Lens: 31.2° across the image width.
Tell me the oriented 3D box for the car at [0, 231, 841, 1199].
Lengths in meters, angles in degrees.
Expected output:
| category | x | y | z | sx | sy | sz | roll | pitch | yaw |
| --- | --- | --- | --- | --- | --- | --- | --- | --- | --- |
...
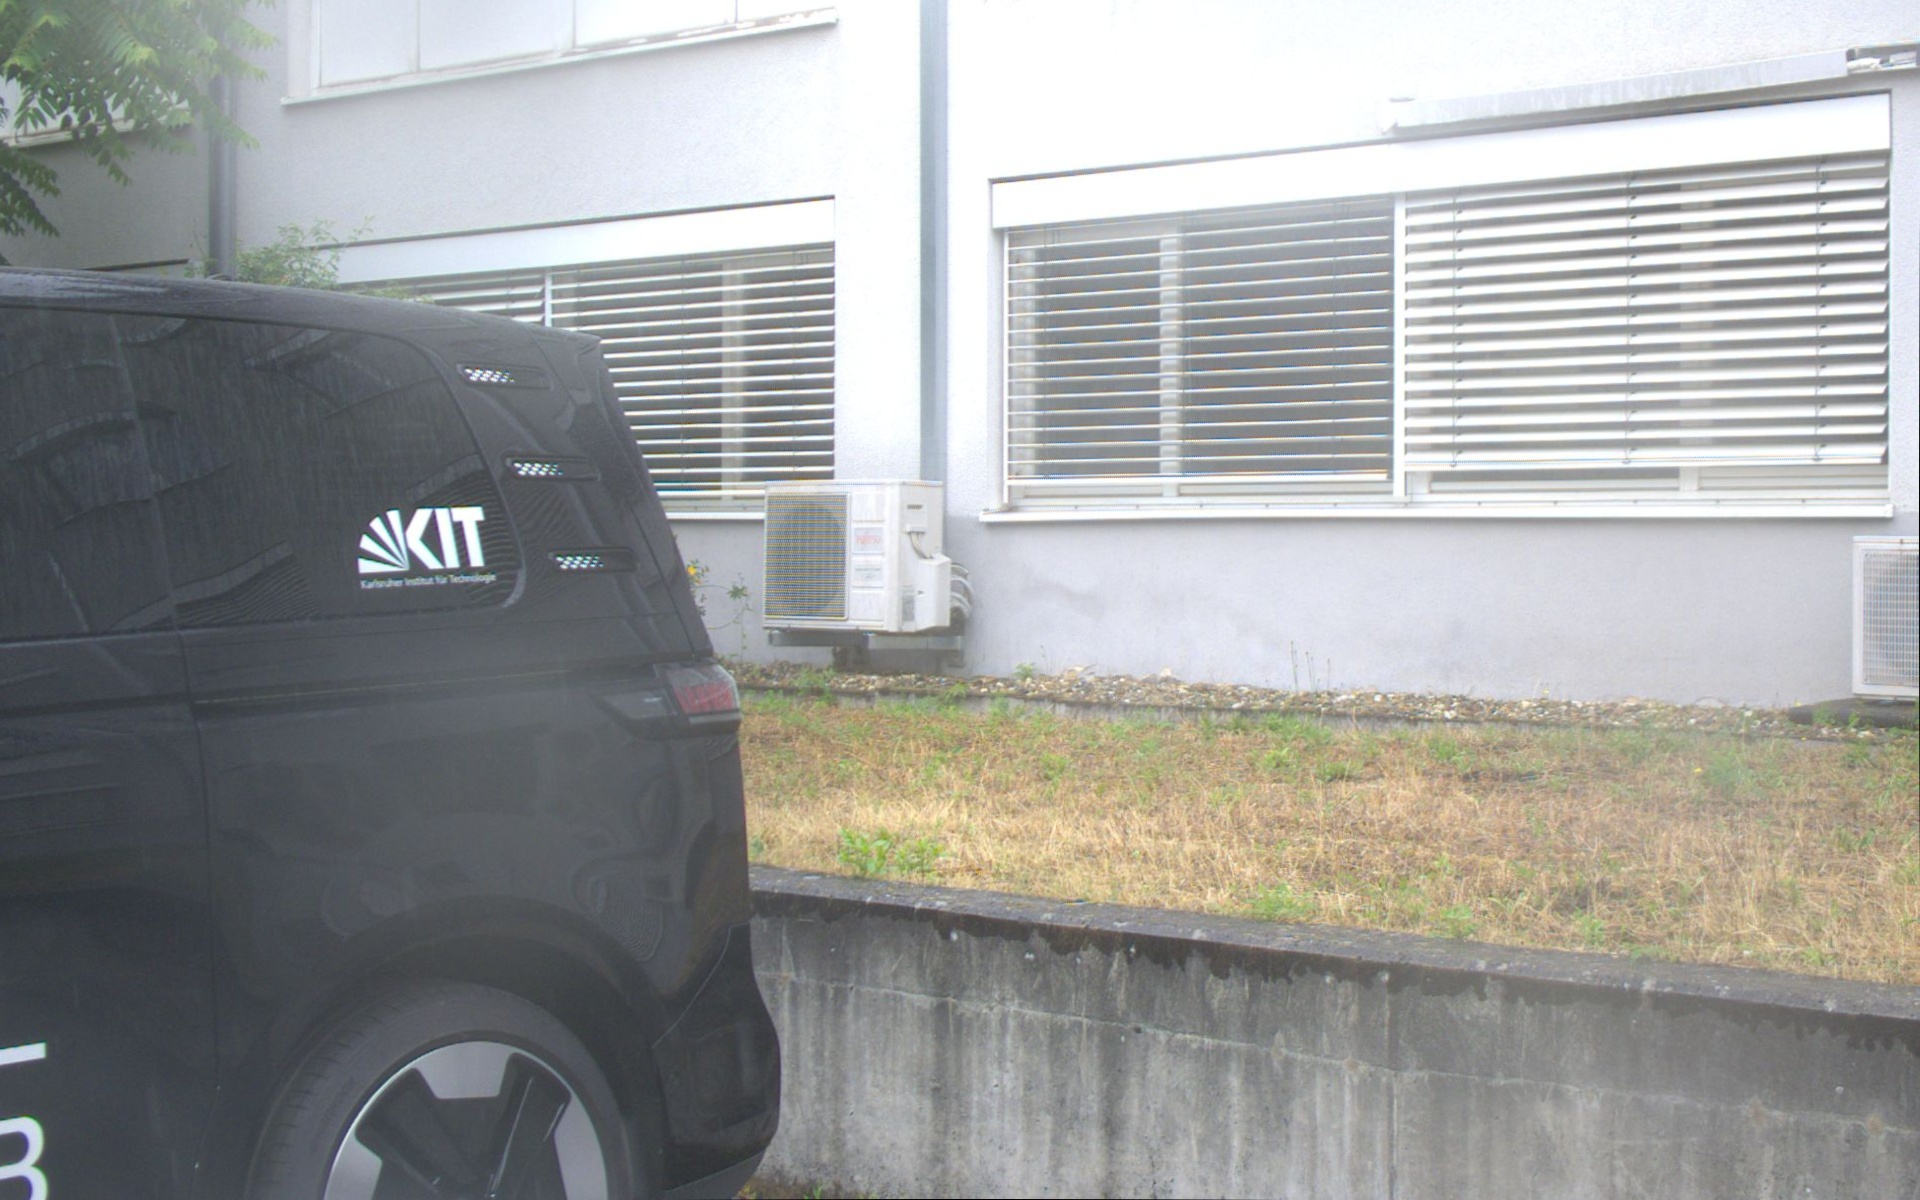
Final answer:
| category | x | y | z | sx | sy | sz | roll | pitch | yaw |
| --- | --- | --- | --- | --- | --- | --- | --- | --- | --- |
| car | -2.496 | 0.448 | 4.927 | 2.045 | 1.891 | 4.511 | 0 | 1 | 43 |
